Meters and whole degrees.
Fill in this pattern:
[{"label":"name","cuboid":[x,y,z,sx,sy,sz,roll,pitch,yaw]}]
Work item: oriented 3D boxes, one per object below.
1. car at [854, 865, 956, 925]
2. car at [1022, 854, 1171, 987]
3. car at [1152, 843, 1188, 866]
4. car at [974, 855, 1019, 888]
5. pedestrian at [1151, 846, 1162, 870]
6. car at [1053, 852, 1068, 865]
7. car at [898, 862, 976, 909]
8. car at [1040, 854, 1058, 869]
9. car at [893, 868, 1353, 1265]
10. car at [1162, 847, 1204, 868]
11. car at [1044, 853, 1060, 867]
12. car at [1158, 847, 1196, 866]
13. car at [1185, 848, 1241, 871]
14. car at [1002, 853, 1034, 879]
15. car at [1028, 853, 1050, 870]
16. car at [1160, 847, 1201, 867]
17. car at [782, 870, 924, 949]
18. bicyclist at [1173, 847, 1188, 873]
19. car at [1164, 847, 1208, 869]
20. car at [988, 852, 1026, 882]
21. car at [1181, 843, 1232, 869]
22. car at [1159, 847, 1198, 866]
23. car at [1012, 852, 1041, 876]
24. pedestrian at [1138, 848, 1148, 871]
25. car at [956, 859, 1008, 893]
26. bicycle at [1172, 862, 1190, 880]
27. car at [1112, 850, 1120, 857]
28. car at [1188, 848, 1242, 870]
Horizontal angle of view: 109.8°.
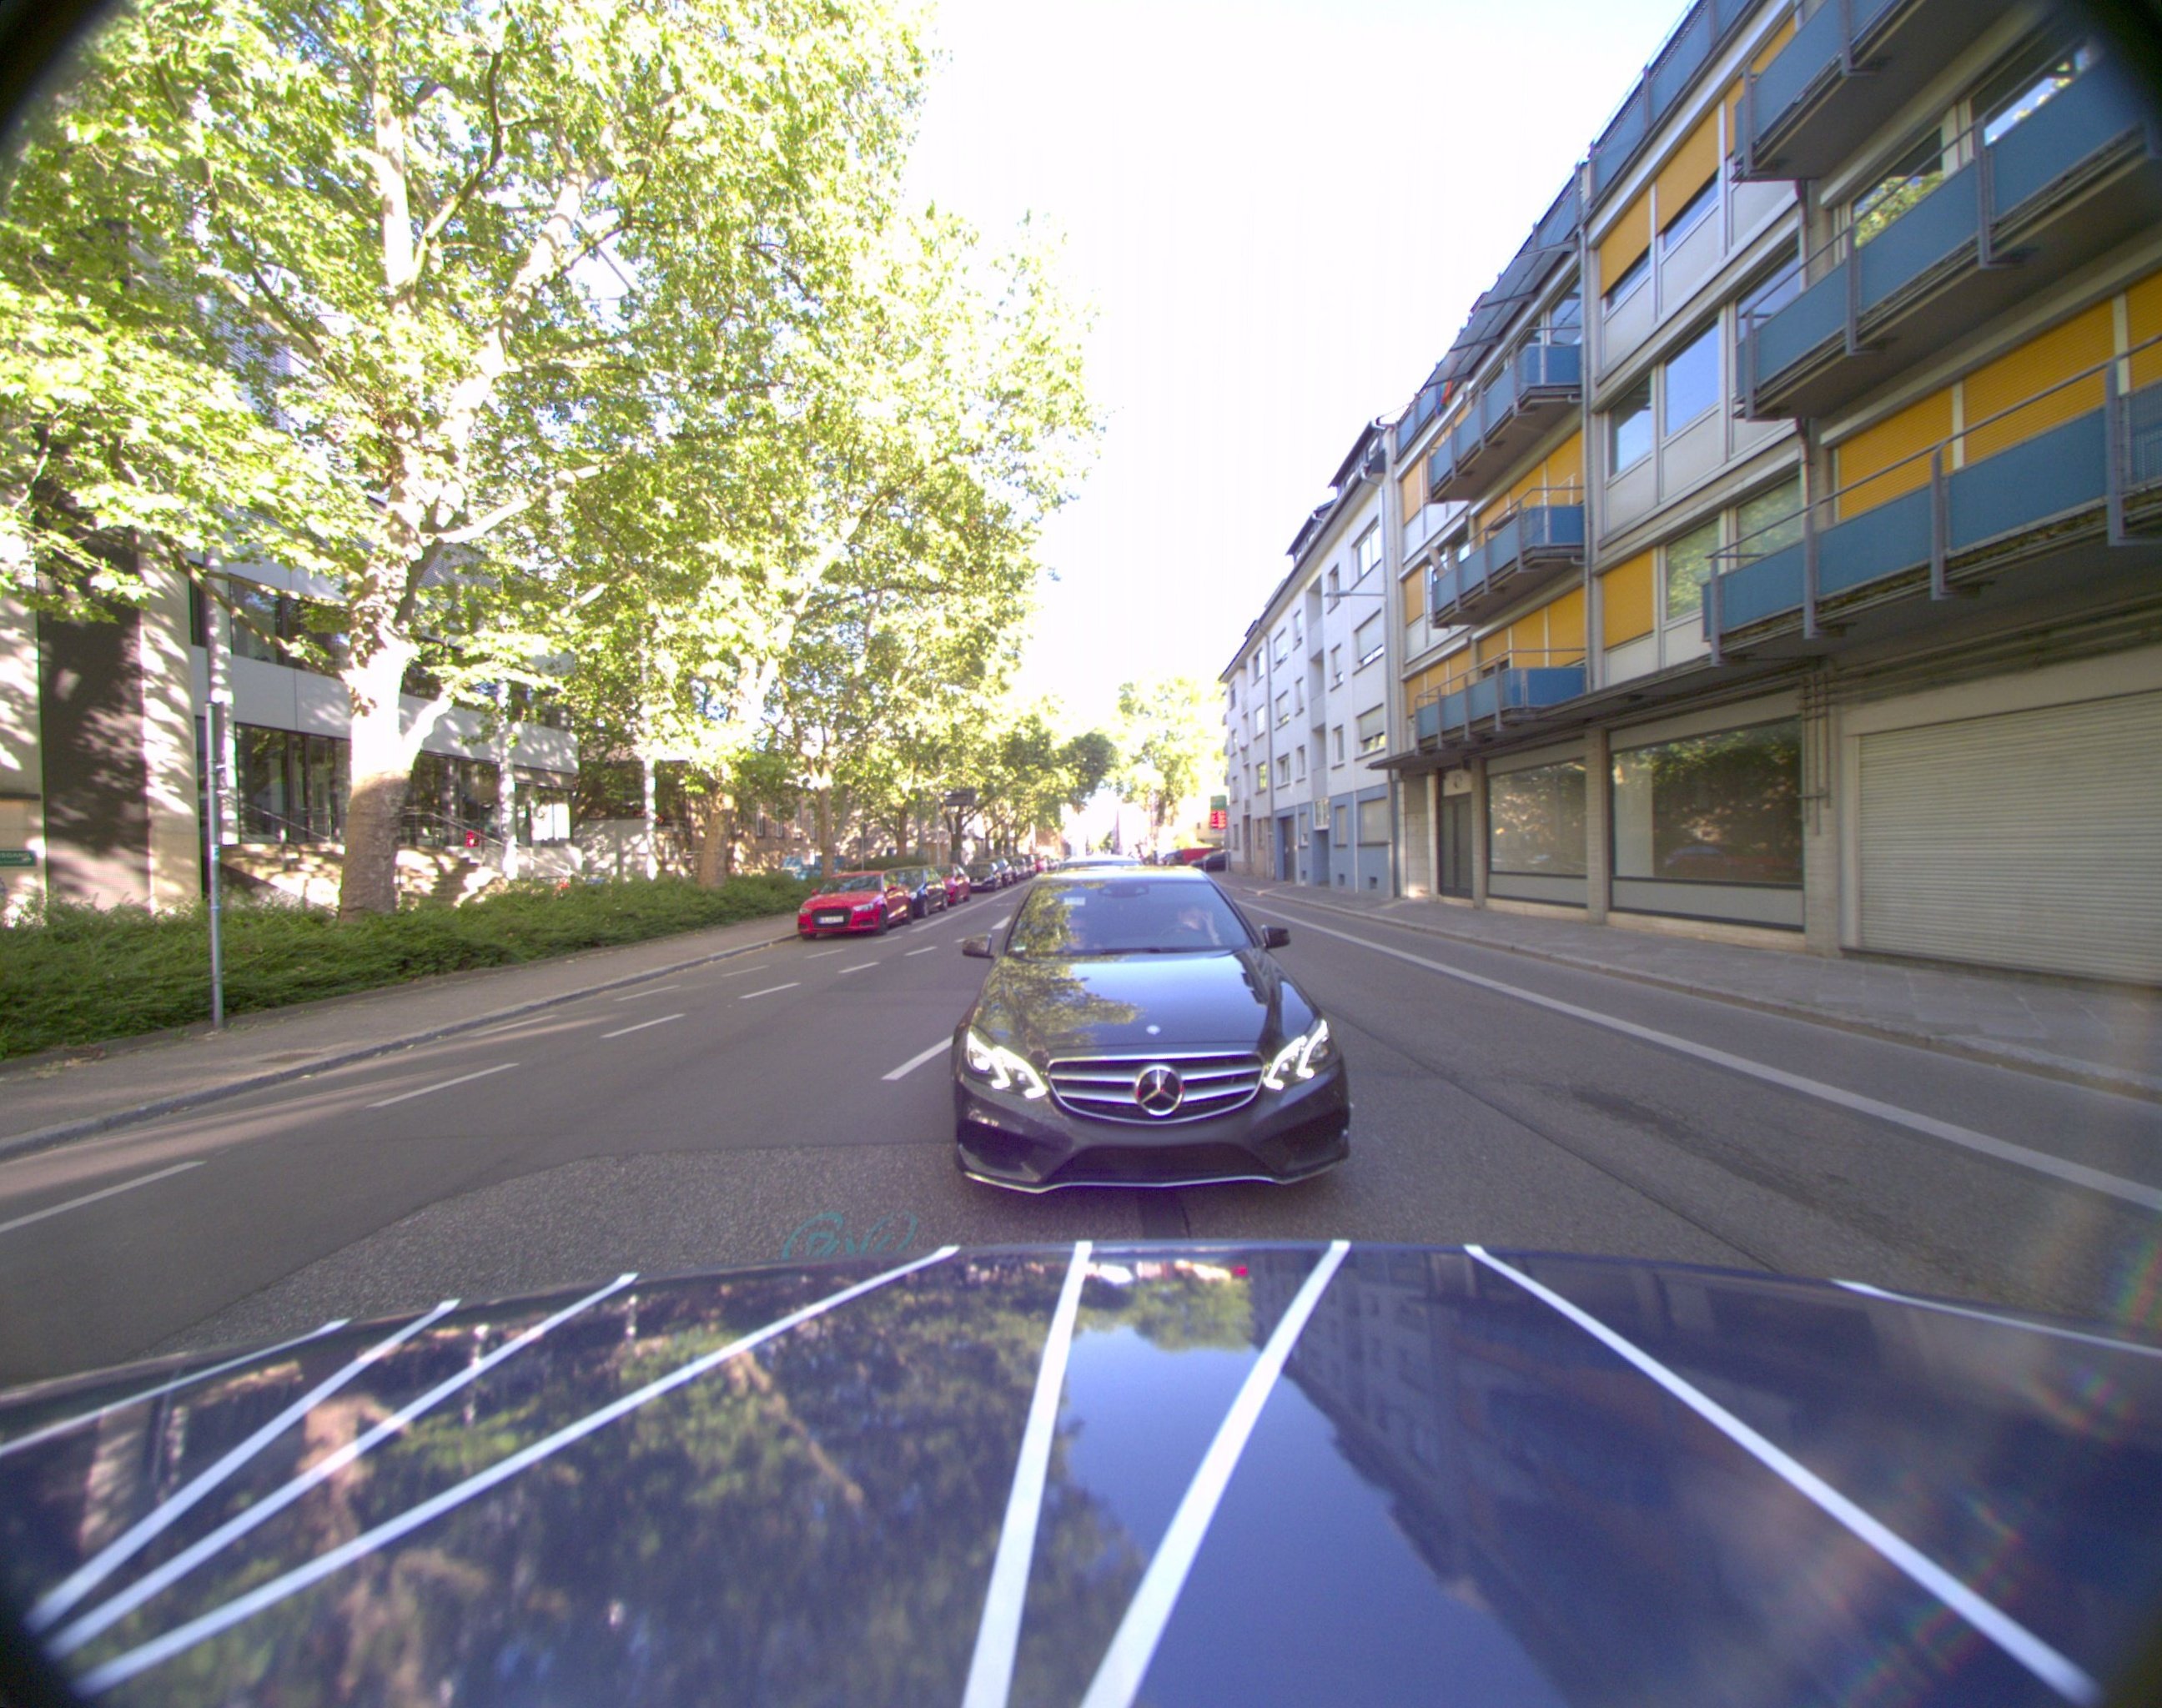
[{"label":"car","cuboid":[-5.042,1.122,22.377,1.866,1.442,4.481,-2,0,1]},{"label":"car","cuboid":[0.227,0.857,11.926,1.866,1.630,4.303,-2,0,1]},{"label":"car","cuboid":[10.487,0.004,89.503,3.996,2.505,2.000,-2,1,2]},{"label":"car","cuboid":[-4.620,0.905,42.202,1.866,1.658,4.481,-2,0,1]},{"label":"pedestrian","cuboid":[6.495,0.363,65.518,0.735,2.002,1.046,-2,1,-1]},{"label":"car","cuboid":[-2.841,0.642,105.179,1.866,1.632,4.481,-2,0,1]},{"label":"car","cuboid":[-5.086,1.063,27.421,1.866,1.442,4.481,-2,0,1]},{"label":"car","cuboid":[-3.783,0.829,89.973,1.866,1.632,4.481,-2,0,1]},{"label":"car","cuboid":[0.207,0.932,5.403,1.866,1.492,4.481,-2,0,1]},{"label":"car","cuboid":[10.331,0.345,77.143,3.996,1.936,2.000,-2,1,2]},{"label":"car","cuboid":[-3.673,0.744,96.771,1.866,1.632,4.481,-2,0,1]},{"label":"car","cuboid":[10.734,0.242,84.976,3.996,1.936,2.000,-2,1,2]},{"label":"car","cuboid":[10.174,0.424,58.867,3.996,1.543,2.000,-2,1,2]},{"label":"car","cuboid":[-4.503,0.817,54.795,1.866,1.749,4.481,-2,0,1]},{"label":"car","cuboid":[-4.200,0.702,76.274,1.866,1.632,4.481,-2,0,1]},{"label":"car","cuboid":[10.459,0.308,79.994,3.996,1.936,2.000,-2,1,2]},{"label":"car","cuboid":[-5.102,1.176,17.726,1.866,1.442,4.481,-2,0,1]},{"label":"bicyclist","cuboid":[5.700,0.354,43.580,0.755,1.442,0.796,-2,1,1]},{"label":"car","cuboid":[10.247,0.378,74.501,3.996,1.936,2.000,-2,1,2]},{"label":"car","cuboid":[-4.632,0.782,48.129,1.866,1.749,4.481,-2,0,1]},{"label":"car","cuboid":[10.548,0.155,64.020,3.996,1.936,2.000,-2,1,2]},{"label":"car","cuboid":[10.589,0.275,82.482,3.996,1.936,2.000,-2,1,2]},{"label":"car","cuboid":[-4.246,0.754,59.751,1.866,1.749,4.481,-2,0,1]},{"label":"pedestrian","cuboid":[5.353,0.462,65.702,0.735,2.002,0.797,-2,1,1]},{"label":"car","cuboid":[-4.755,1.023,37.167,1.866,1.442,4.481,-2,0,1]},{"label":"bicycle","cuboid":[5.725,0.944,43.586,0.766,0.915,2.218,-2,1,1]},{"label":"car","cuboid":[8.577,-0.022,186.614,1.866,1.632,4.481,-2,0,1]},{"label":"car","cuboid":[10.715,0.377,61.189,3.996,1.543,2.000,-2,1,2]}]
